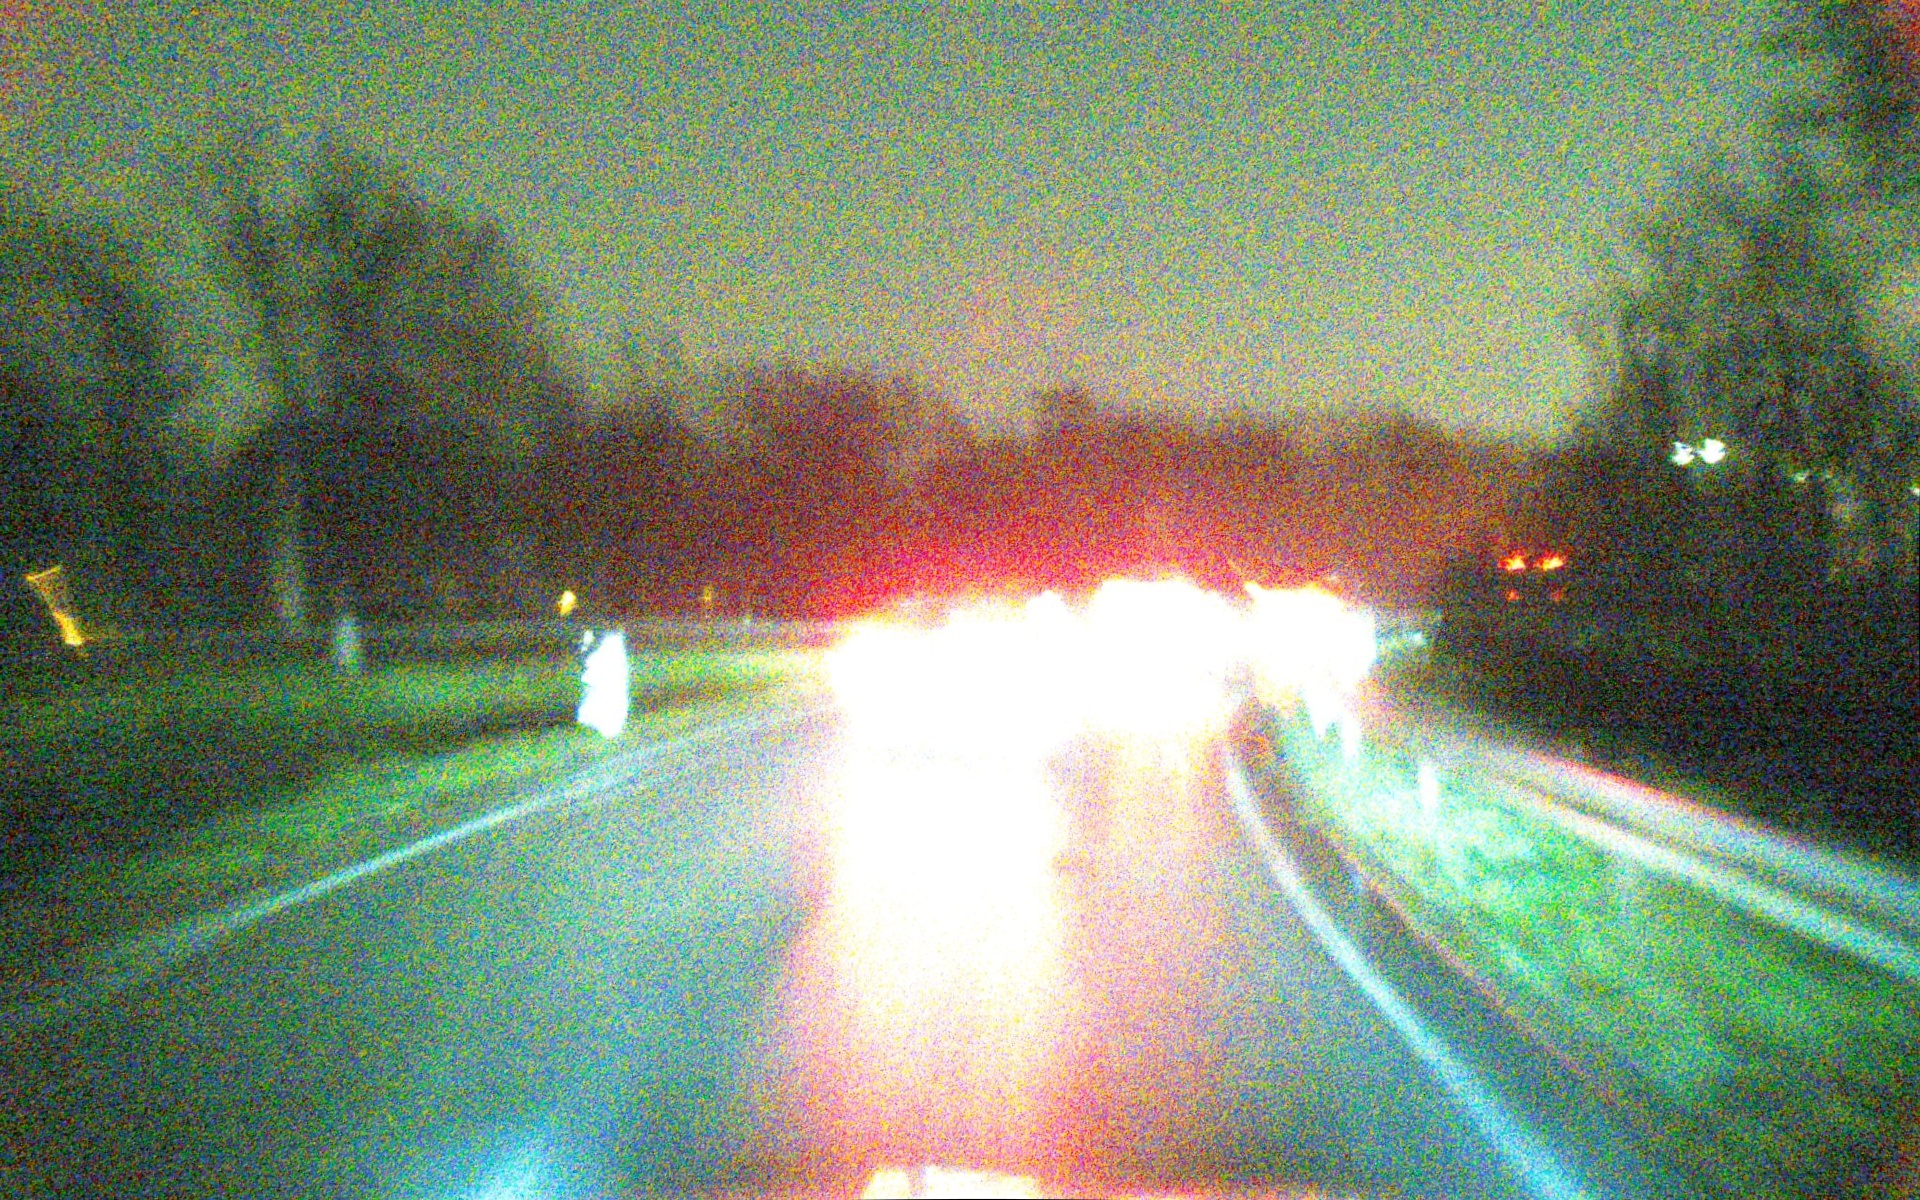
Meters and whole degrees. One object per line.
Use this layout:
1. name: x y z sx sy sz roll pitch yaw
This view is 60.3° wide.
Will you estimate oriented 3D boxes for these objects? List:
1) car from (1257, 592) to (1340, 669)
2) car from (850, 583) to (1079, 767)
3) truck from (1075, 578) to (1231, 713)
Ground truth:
1. car: 9.284 0.803 45.169 1.797 1.982 4.002 0 0 18
2. car: 0.076 0.647 15.768 1.904 1.517 3.716 -1 0 1
3. truck: 4.303 0.891 35.778 3.004 2.573 7.172 1 0 9
